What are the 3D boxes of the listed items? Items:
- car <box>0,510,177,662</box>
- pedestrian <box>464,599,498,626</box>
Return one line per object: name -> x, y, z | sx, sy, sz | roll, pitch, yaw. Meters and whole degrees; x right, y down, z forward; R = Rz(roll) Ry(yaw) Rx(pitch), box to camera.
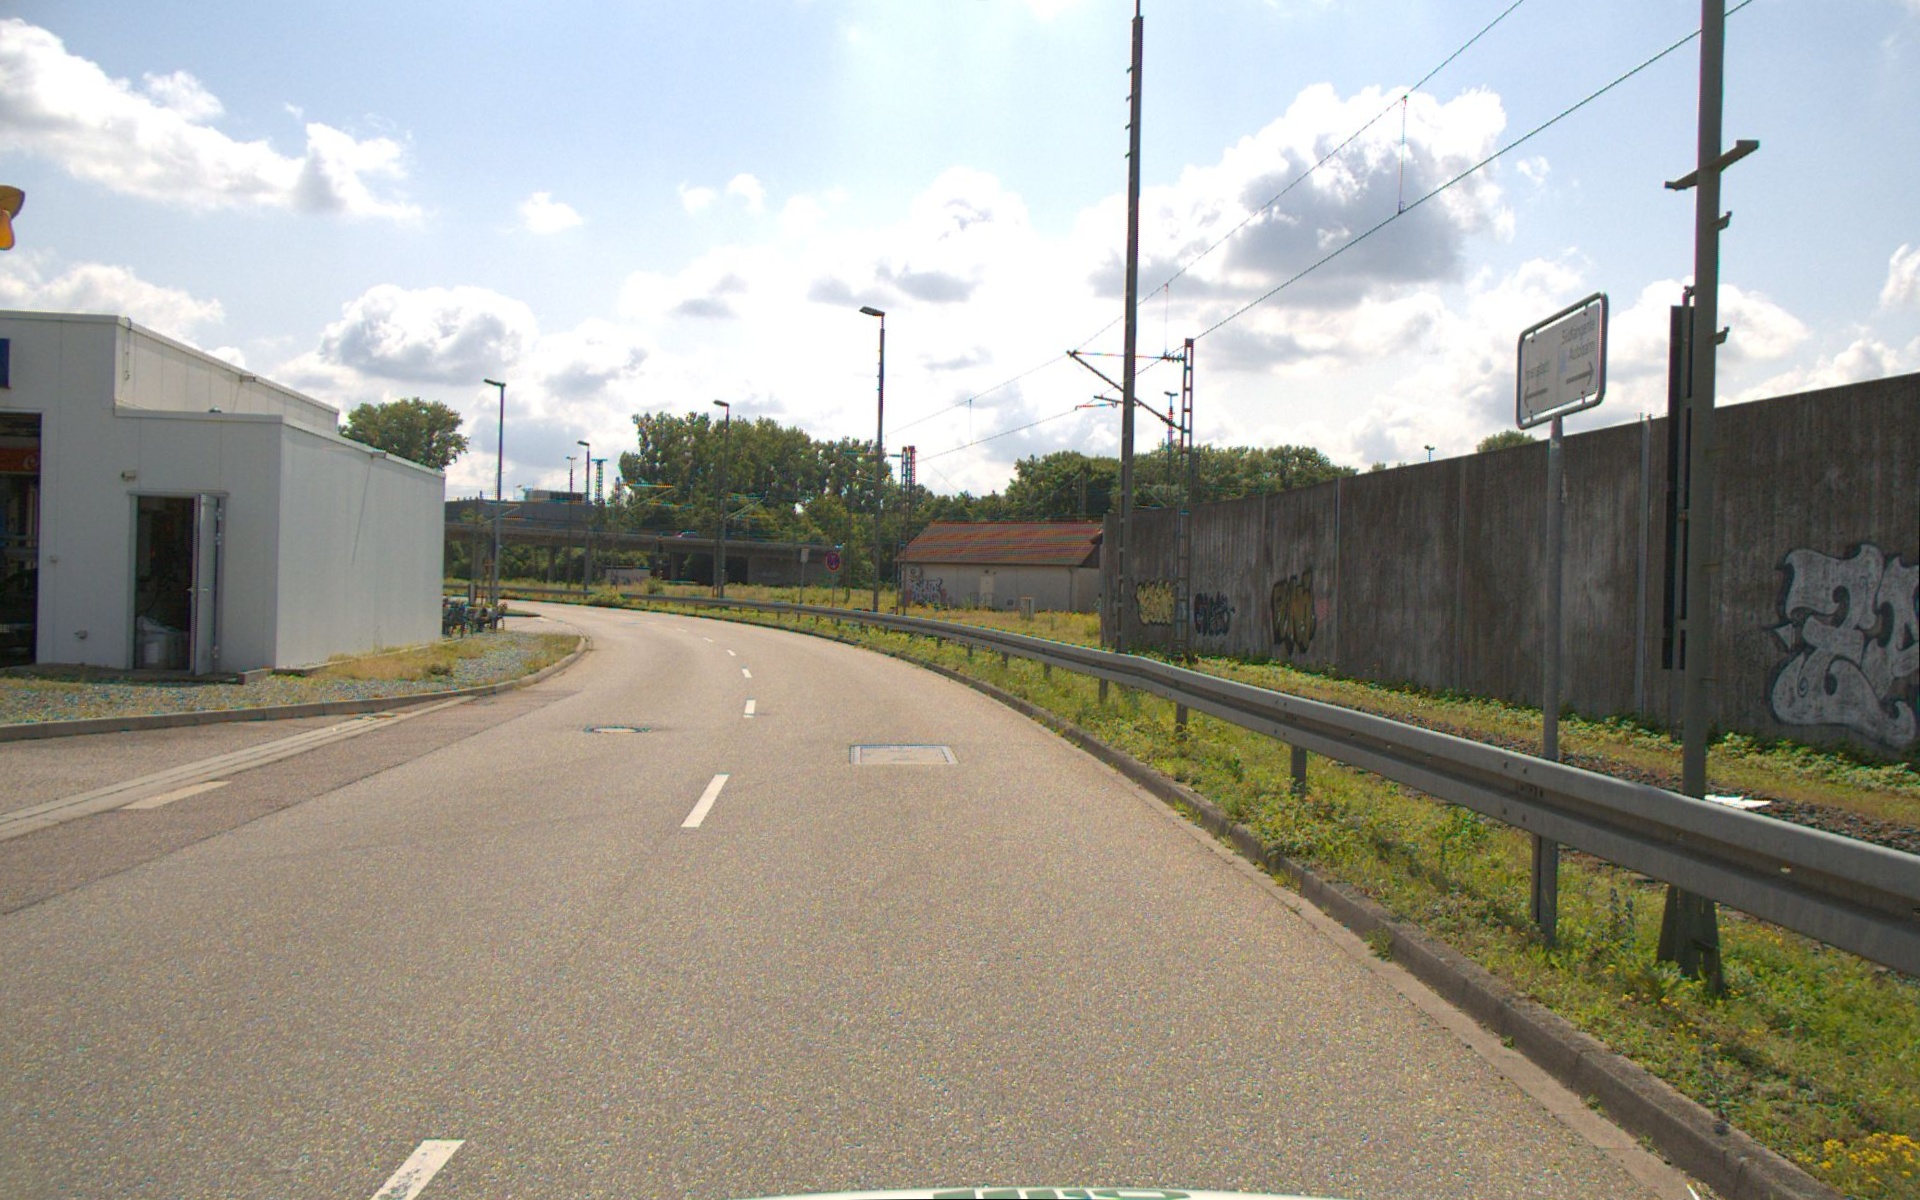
car -> -14.118, -0.211, 25.903 | 1.956, 2.146, 5.000 | 1, 0, -9
pedestrian -> -14.613, 0.378, 50.426 | 0.846, 0.773, 0.816 | 4, -1, -10
